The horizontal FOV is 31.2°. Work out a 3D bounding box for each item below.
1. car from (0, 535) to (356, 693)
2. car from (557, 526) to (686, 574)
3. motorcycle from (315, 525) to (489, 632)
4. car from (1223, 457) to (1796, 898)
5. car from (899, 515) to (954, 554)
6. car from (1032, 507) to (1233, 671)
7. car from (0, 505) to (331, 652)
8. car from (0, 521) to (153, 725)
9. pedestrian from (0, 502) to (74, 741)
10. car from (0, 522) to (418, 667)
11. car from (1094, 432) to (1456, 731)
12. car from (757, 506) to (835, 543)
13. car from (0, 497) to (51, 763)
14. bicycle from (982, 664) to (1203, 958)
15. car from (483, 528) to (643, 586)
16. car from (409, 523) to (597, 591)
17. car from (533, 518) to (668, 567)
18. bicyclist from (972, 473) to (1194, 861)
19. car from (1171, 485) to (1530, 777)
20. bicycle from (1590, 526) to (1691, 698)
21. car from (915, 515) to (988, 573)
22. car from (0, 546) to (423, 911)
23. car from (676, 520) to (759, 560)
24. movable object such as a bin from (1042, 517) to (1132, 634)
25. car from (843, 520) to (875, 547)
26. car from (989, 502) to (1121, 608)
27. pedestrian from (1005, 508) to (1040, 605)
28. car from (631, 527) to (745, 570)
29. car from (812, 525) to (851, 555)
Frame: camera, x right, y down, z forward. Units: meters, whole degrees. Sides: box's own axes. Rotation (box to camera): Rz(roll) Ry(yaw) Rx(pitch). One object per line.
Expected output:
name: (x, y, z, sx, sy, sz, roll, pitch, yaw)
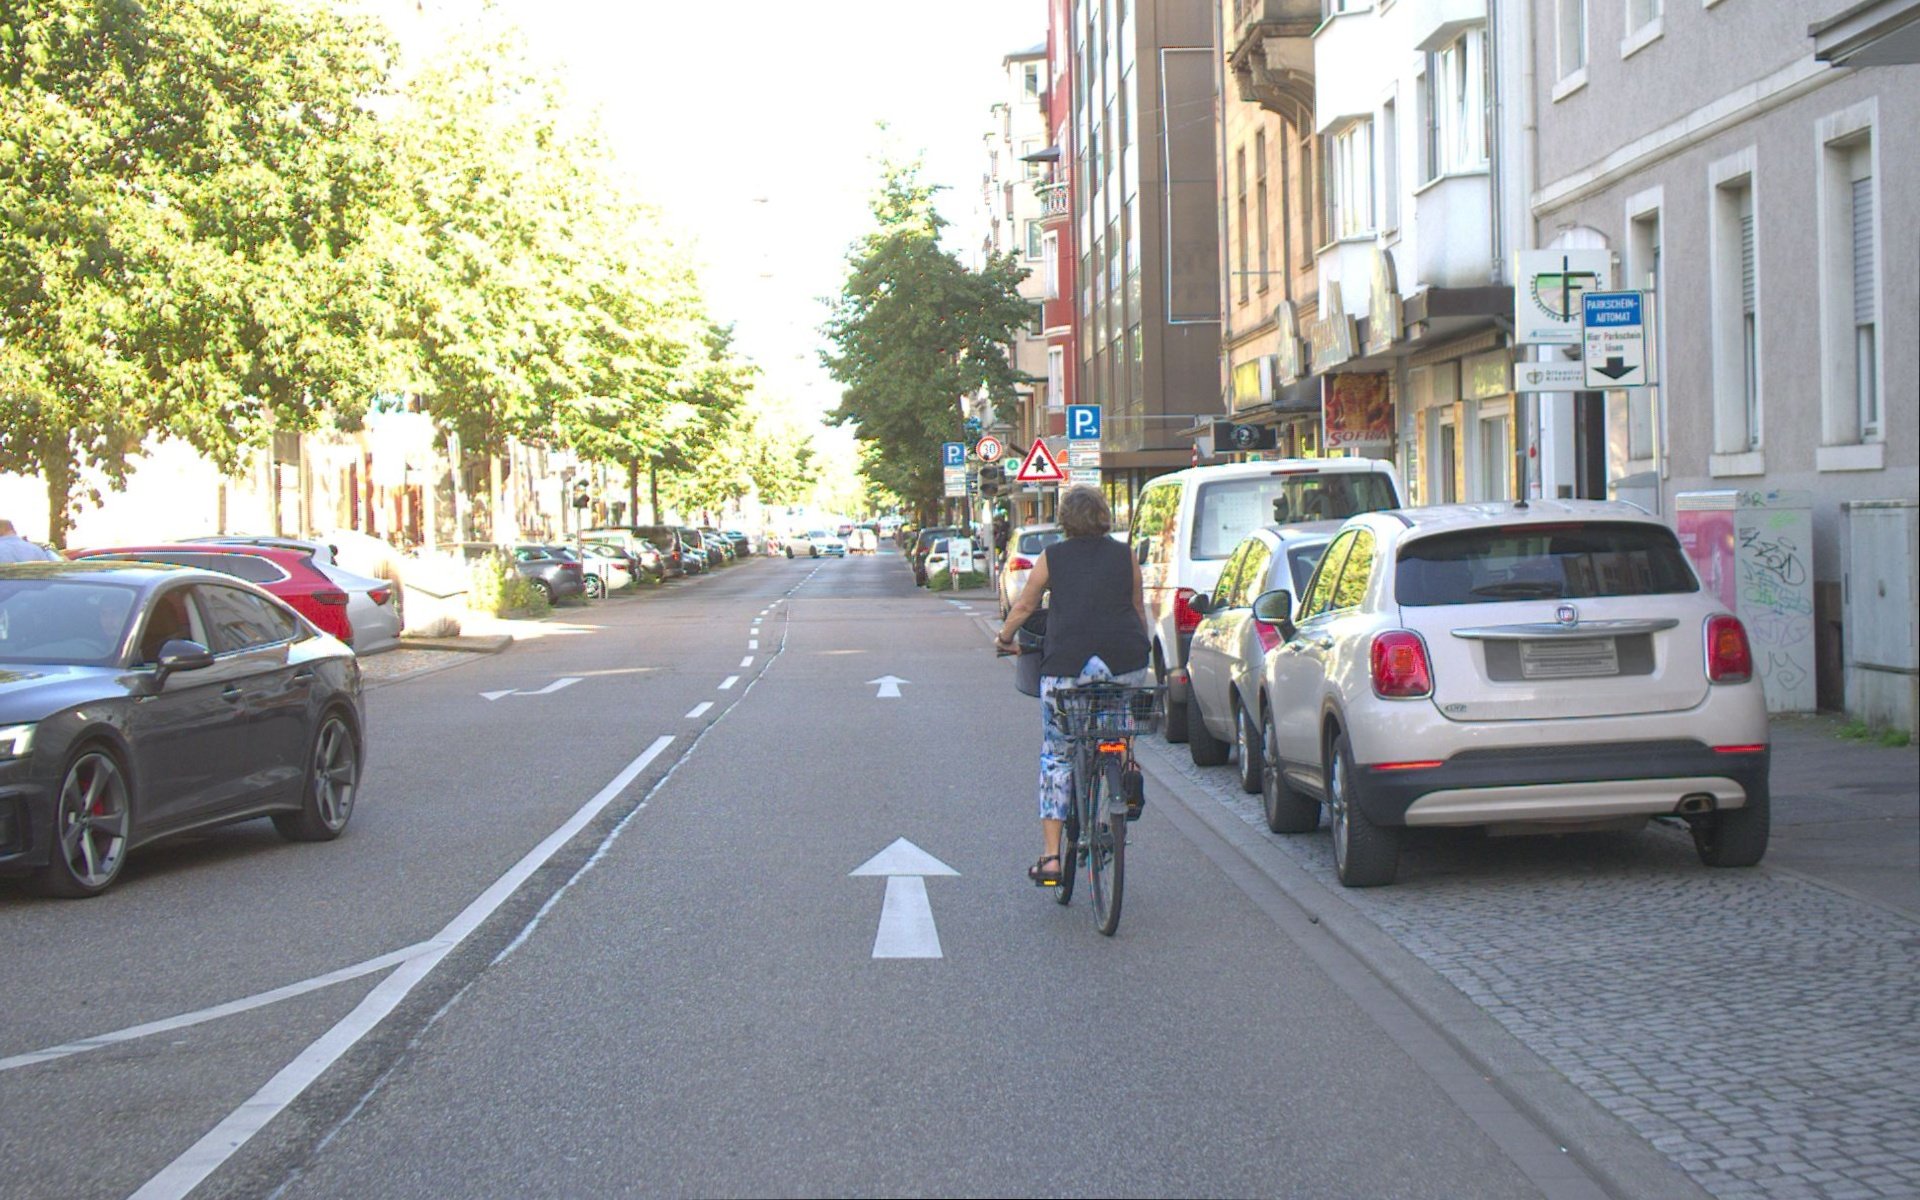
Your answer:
car: (-8.454, 0.123, 33.419, 4.833, 1.483, 1.765, 0, 0, -21)
car: (-10.905, -1.605, 110.869, 3.987, 1.503, 2.000, 0, 1, -1)
motorcycle: (-8.774, -0.342, 54.100, 2.474, 1.599, 0.999, -1, 1, 17)
car: (2.358, 0.290, 16.033, 1.745, 1.733, 4.961, 0, 0, -2)
car: (-1.299, -2.490, 130.173, 1.993, 1.448, 4.001, 0, 1, -2)
car: (1.734, -0.119, 35.612, 1.718, 1.510, 3.583, -3, 0, -2)
car: (-9.310, -0.229, 38.700, 3.987, 1.580, 1.831, 0, 0, -33)
car: (-8.630, 0.169, 27.562, 3.986, 1.592, 1.750, 0, 0, -4)
pedestrian: (-6.575, 0.148, 23.969, 0.699, 1.644, 0.646, 0, 0, -8)
car: (-8.072, -0.057, 36.561, 4.221, 1.472, 1.736, 0, 0, -26)
car: (2.240, -0.195, 25.900, 1.993, 1.998, 5.118, -1, 2, -3)
car: (-9.163, -4.232, 192.270, 3.988, 2.007, 1.999, 0, 1, 9)
car: (-7.888, 0.162, 21.894, 3.986, 1.662, 2.001, 0, 1, -17)
bicycle: (0.470, 0.759, 13.311, 0.652, 0.955, 2.698, 0, 0, -2)
car: (-10.411, -1.137, 90.312, 3.987, 1.503, 2.000, 0, 1, 0)
car: (-10.272, -0.971, 77.470, 3.987, 1.503, 2.000, 0, 1, 0)
car: (-11.100, -1.768, 106.241, 3.987, 1.503, 1.895, 0, 1, 0)
bicyclist: (0.463, 0.247, 13.391, 0.786, 1.448, 1.096, 0, 0, -2)
car: (2.290, 0.160, 21.006, 1.699, 1.598, 3.757, -1, 0, -1)
bicycle: (4.940, 0.084, 24.907, 0.483, 1.182, 1.718, -3, -1, 17)
car: (-0.213, -1.581, 97.889, 1.993, 1.612, 4.010, 1, 0, 1)
car: (-4.200, 0.478, 15.680, 1.912, 1.412, 4.808, 0, 0, 11)
car: (-12.656, -3.138, 179.541, 3.988, 2.007, 1.999, 0, 1, 9)
movable object such as a bin: (1.715, -0.343, 46.118, 1.073, 1.452, 1.492, -4, 2, 4)
car: (-6.037, -3.965, 206.180, 1.870, 1.550, 4.000, 0, 0, -1)
car: (1.521, -0.724, 56.698, 1.899, 1.669, 4.825, 0, 0, -2)
pedestrian: (1.114, -0.777, 61.413, 0.614, 1.729, 0.634, 0, 0, 0)
car: (-10.140, -1.910, 128.398, 3.987, 1.503, 2.000, 1, 1, 2)
car: (-6.773, -3.143, 181.567, 1.993, 1.550, 4.000, 0, 0, -1)
